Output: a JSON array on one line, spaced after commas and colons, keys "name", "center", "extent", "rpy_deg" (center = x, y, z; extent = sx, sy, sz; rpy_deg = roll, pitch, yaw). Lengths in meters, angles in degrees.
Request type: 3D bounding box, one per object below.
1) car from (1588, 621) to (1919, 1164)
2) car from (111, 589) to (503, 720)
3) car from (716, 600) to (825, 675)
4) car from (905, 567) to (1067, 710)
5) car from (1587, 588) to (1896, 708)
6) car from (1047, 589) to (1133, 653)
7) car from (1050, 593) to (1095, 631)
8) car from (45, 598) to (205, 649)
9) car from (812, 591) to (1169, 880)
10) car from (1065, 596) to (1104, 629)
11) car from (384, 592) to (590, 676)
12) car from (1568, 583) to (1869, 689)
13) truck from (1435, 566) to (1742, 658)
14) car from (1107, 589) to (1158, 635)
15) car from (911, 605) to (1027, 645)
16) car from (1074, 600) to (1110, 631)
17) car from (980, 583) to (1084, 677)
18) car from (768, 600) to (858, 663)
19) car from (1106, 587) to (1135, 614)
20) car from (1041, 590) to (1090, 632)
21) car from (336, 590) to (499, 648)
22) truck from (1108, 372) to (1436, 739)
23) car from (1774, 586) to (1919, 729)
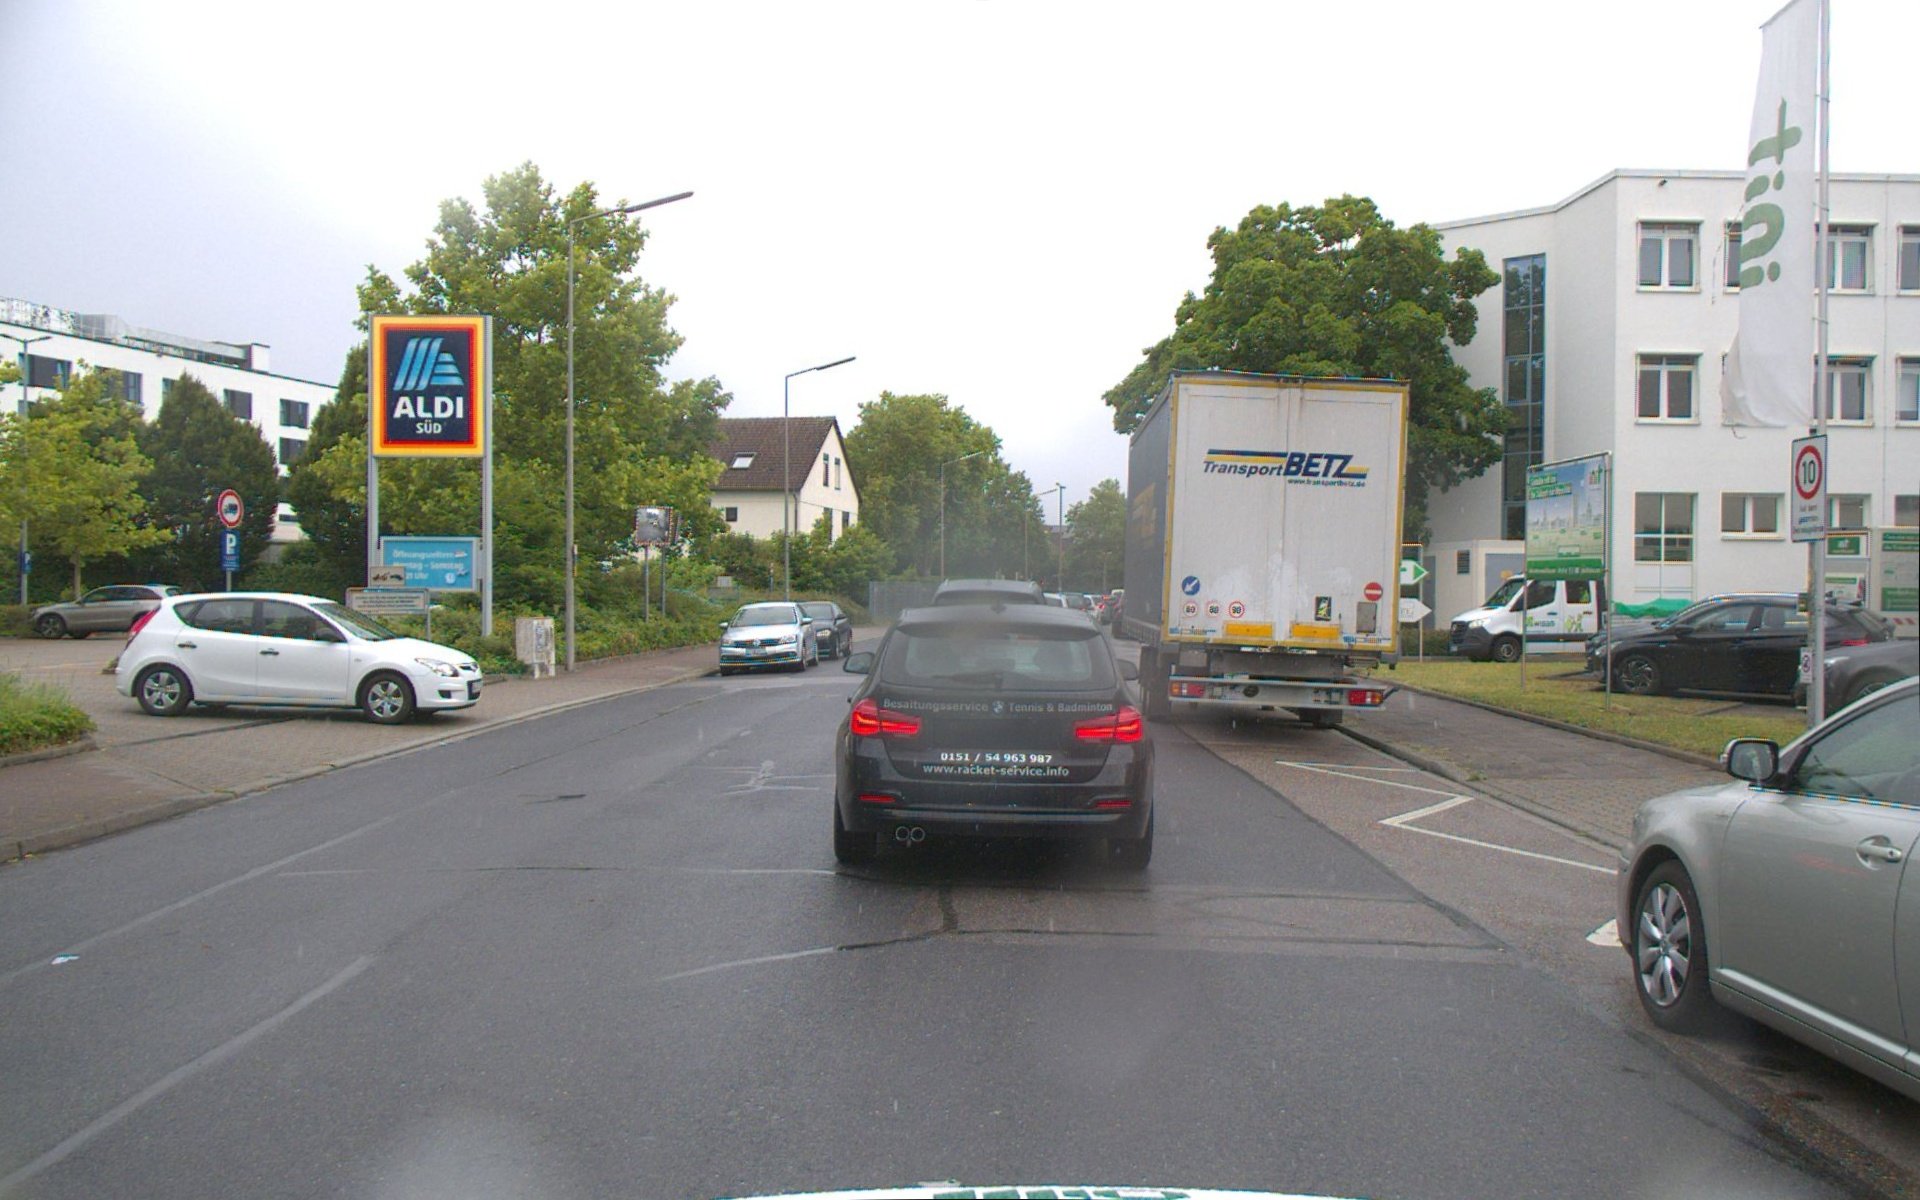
[{"name": "car", "center": [3.532, 0.826, 4.698], "extent": [1.761, 1.466, 4.343], "rpy_deg": [0, 0, -1]}, {"name": "car", "center": [-7.909, 0.647, 20.329], "extent": [4.107, 1.485, 1.711], "rpy_deg": [1, 0, -4]}, {"name": "car", "center": [-3.937, 0.748, 35.048], "extent": [1.670, 1.391, 4.602], "rpy_deg": [-2, 0, 1]}, {"name": "car", "center": [0.234, 0.451, 20.914], "extent": [1.768, 1.614, 3.997], "rpy_deg": [1, 0, -3]}, {"name": "car", "center": [11.268, 0.632, 23.952], "extent": [3.710, 1.420, 1.719], "rpy_deg": [4, 2, 39]}, {"name": "car", "center": [3.599, 0.581, 46.429], "extent": [1.953, 1.713, 3.998], "rpy_deg": [1, -1, -2]}, {"name": "car", "center": [5.021, 0.516, 73.599], "extent": [1.766, 1.614, 4.003], "rpy_deg": [1, 0, 7]}, {"name": "car", "center": [-25.563, 0.709, 50.733], "extent": [3.905, 1.526, 2.000], "rpy_deg": [0, 0, 1]}, {"name": "car", "center": [0.058, 0.689, 10.255], "extent": [1.768, 1.419, 3.997], "rpy_deg": [1, 0, -3]}, {"name": "car", "center": [6.262, 0.615, 82.729], "extent": [1.766, 1.614, 4.003], "rpy_deg": [1, 0, 7]}, {"name": "car", "center": [-9.264, 0.649, 32.581], "extent": [3.496, 1.485, 1.712], "rpy_deg": [2, 0, 0]}, {"name": "car", "center": [12.041, 0.512, 26.388], "extent": [4.074, 1.440, 1.682], "rpy_deg": [2, 3, 40]}, {"name": "truck", "center": [15.346, 0.289, 40.648], "extent": [6.781, 2.177, 2.094], "rpy_deg": [0, 0, 0]}, {"name": "car", "center": [6.369, 0.431, 61.300], "extent": [1.766, 1.614, 4.002], "rpy_deg": [1, 0, 5]}, {"name": "car", "center": [0.328, 0.873, 59.302], "extent": [4.101, 1.386, 1.589], "rpy_deg": [0, 0, 0]}, {"name": "car", "center": [7.304, 0.837, 91.309], "extent": [1.766, 1.614, 4.003], "rpy_deg": [1, 0, 7]}, {"name": "car", "center": [1.404, 0.543, 30.957], "extent": [1.766, 1.614, 4.002], "rpy_deg": [1, 0, 5]}, {"name": "car", "center": [-3.593, 0.742, 41.012], "extent": [1.670, 1.391, 3.839], "rpy_deg": [-2, 0, 2]}, {"name": "car", "center": [9.934, 0.004, 102.201], "extent": [1.766, 1.614, 4.003], "rpy_deg": [0, 0, 7]}, {"name": "car", "center": [4.306, 0.448, 67.218], "extent": [1.766, 1.614, 4.003], "rpy_deg": [1, 0, 7]}, {"name": "car", "center": [-15.143, 0.516, 46.293], "extent": [3.905, 1.567, 1.910], "rpy_deg": [0, 0, 0]}, {"name": "truck", "center": [3.569, -0.467, 20.951], "extent": [2.685, 3.674, 7.751], "rpy_deg": [2, 0, 1]}, {"name": "car", "center": [11.255, 0.598, 17.432], "extent": [4.584, 1.493, 1.784], "rpy_deg": [0, 0, 37]}]
